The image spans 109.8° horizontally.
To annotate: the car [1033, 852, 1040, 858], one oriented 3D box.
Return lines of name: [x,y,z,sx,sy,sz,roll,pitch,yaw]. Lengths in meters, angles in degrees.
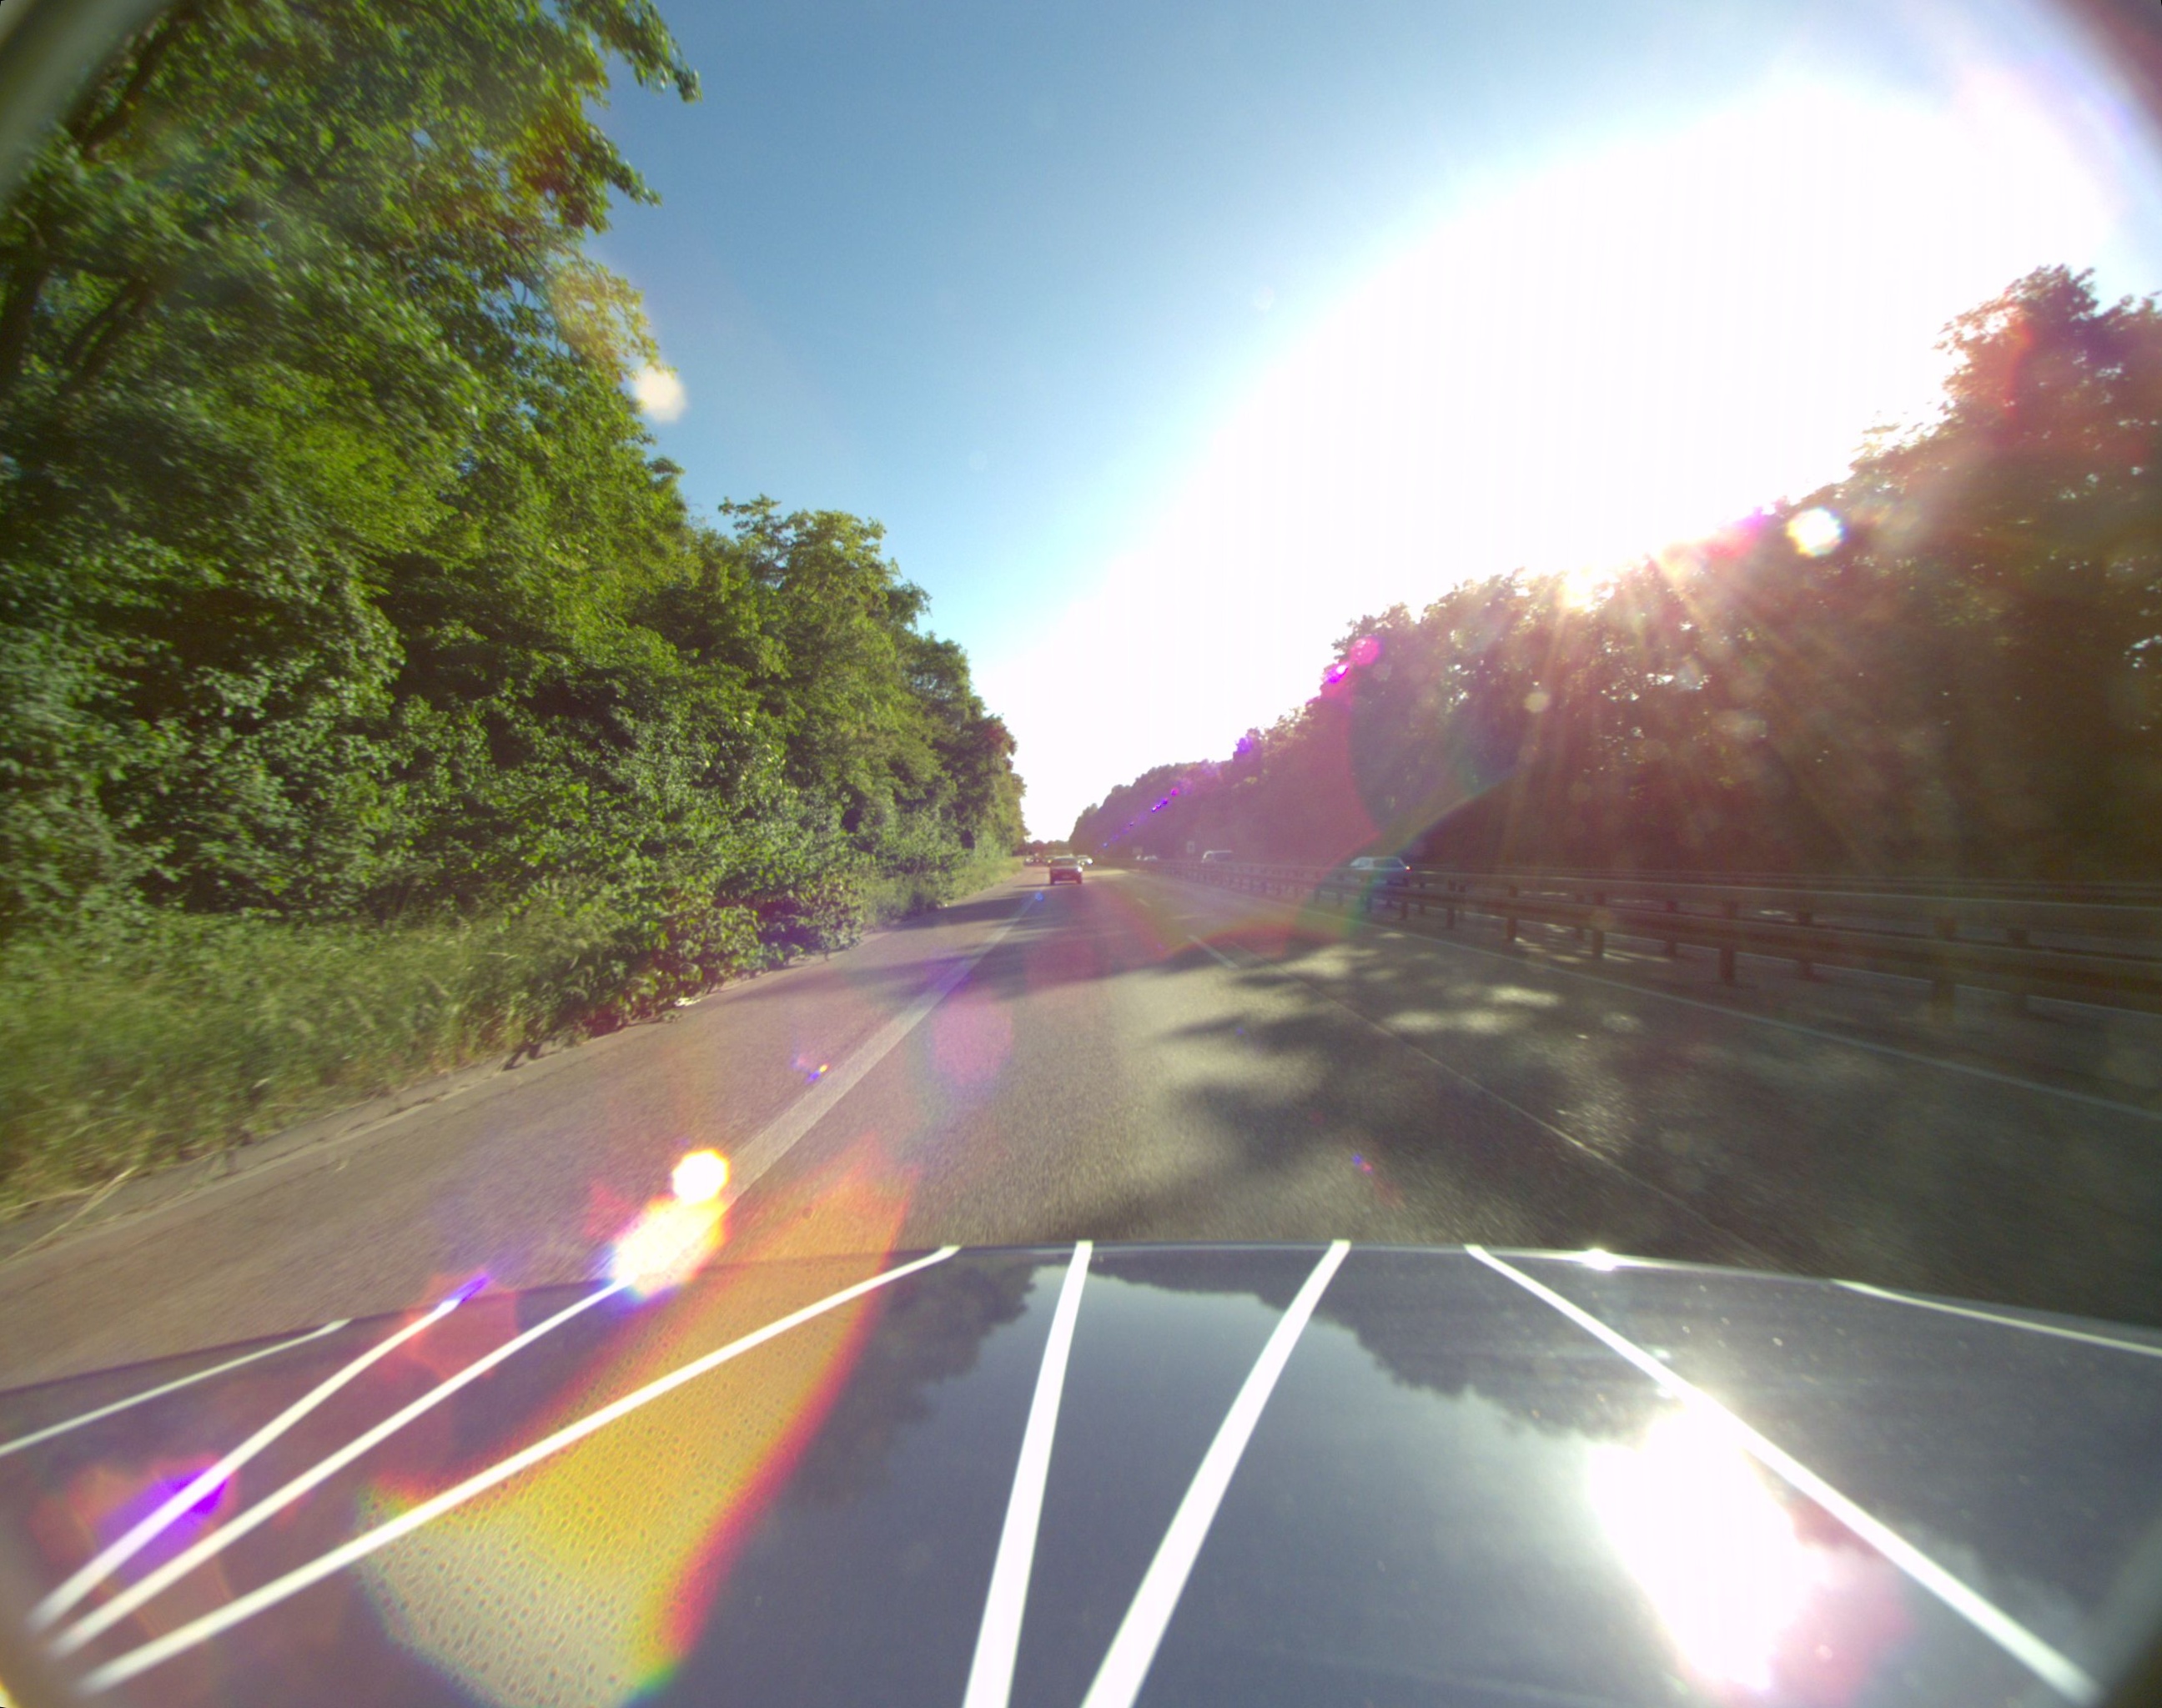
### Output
car: [-12.193,0.273,209.654,1.713,1.565,3.421,-2,0,-2]

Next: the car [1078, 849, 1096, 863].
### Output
car: [0.814,0.264,101.281,1.999,1.793,3.998,1,0,-5]

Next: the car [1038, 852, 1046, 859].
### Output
car: [-9.201,0.379,178.080,1.713,1.565,3.421,-2,0,-2]

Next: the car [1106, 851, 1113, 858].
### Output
car: [6.741,0.068,179.809,1.418,1.610,2.874,-1,0,-3]

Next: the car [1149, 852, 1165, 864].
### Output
car: [9.572,0.517,95.922,1.601,1.444,4.344,1,0,-1]

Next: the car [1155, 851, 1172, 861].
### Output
car: [12.595,0.314,116.392,1.999,1.576,3.998,1,0,-3]

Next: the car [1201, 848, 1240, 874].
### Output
car: [10.855,0.533,59.666,1.893,1.892,5.414,1,0,-2]

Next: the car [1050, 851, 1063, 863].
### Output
car: [-3.567,0.420,110.148,1.713,1.565,3.421,-2,0,-2]

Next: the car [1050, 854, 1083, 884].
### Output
car: [-0.772,0.799,42.535,1.712,1.565,3.422,-2,0,0]

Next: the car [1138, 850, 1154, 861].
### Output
car: [11.086,0.232,129.470,1.999,1.739,4.549,1,0,-3]

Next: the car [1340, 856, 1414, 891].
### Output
car: [12.013,0.765,31.079,1.601,1.306,3.910,1,0,2]

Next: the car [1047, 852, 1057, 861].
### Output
car: [-4.990,0.404,131.068,1.713,1.565,3.421,-2,0,-2]
